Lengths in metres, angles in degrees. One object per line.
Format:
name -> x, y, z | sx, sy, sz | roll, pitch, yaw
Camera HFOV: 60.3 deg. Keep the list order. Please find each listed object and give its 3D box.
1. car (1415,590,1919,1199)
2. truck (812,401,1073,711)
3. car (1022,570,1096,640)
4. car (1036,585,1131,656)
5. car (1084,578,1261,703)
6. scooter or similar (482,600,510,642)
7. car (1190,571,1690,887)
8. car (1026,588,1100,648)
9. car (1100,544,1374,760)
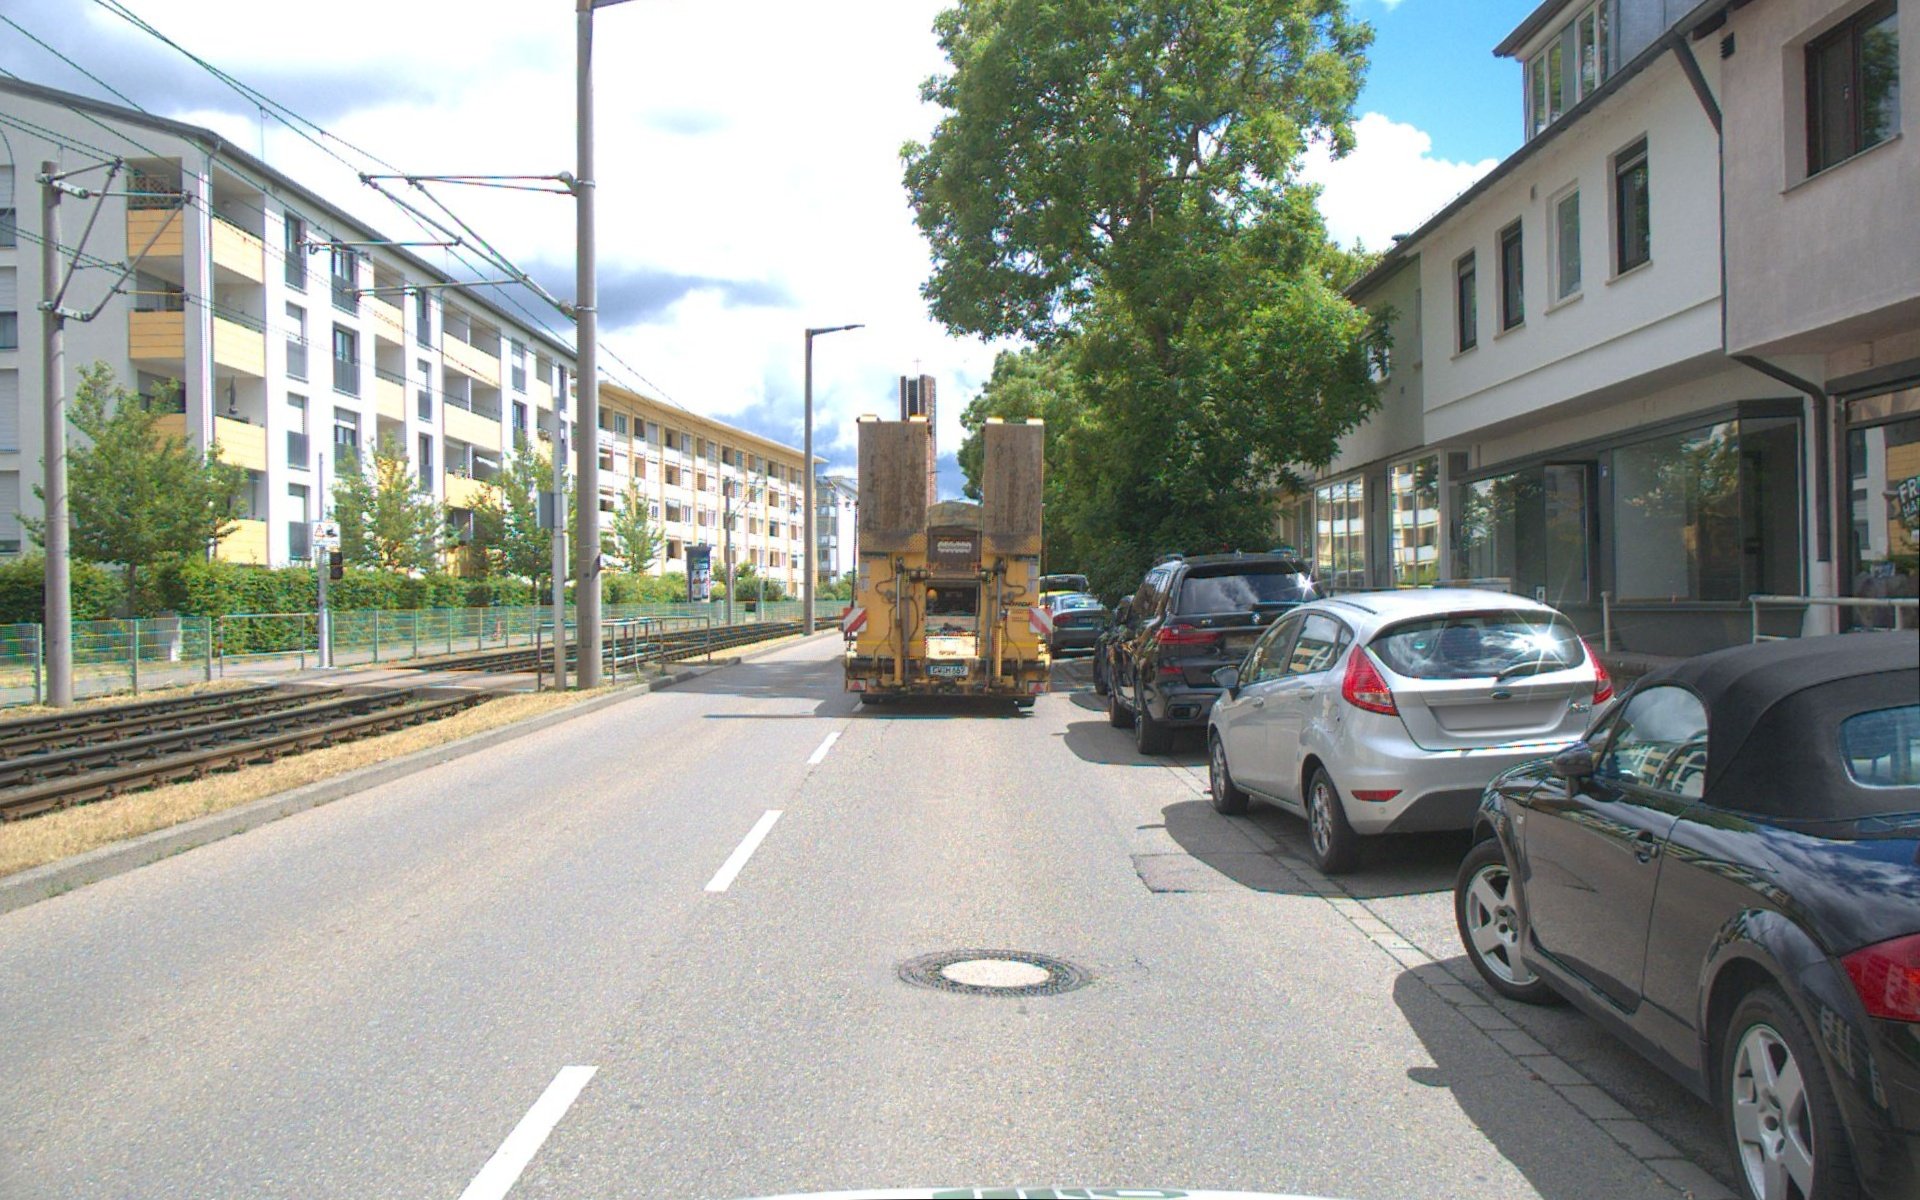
car -> 2.737, 0.704, 5.024 | 1.734, 1.373, 4.002 | -3, 0, 3
truck -> -0.280, -0.560, 25.667 | 3.060, 3.627, 12.457 | 0, 0, -1
car -> 2.999, 0.134, 50.978 | 1.875, 1.993, 5.744 | -1, 0, 0
car -> 2.755, 0.436, 37.756 | 1.719, 1.467, 4.492 | -1, 0, -1
car -> 2.849, 0.504, 23.018 | 1.797, 1.532, 4.241 | -1, 0, -1
scooter or similar -> -14.627, 0.654, 52.157 | 0.480, 1.315, 1.302 | 0, 0, 1
car -> 2.663, 0.636, 10.167 | 1.736, 1.467, 3.897 | -3, 0, -3
car -> 2.718, 0.461, 44.488 | 1.719, 1.467, 4.341 | -2, 0, 0
car -> 2.605, 0.437, 16.819 | 1.974, 1.820, 5.076 | -1, 0, 1
